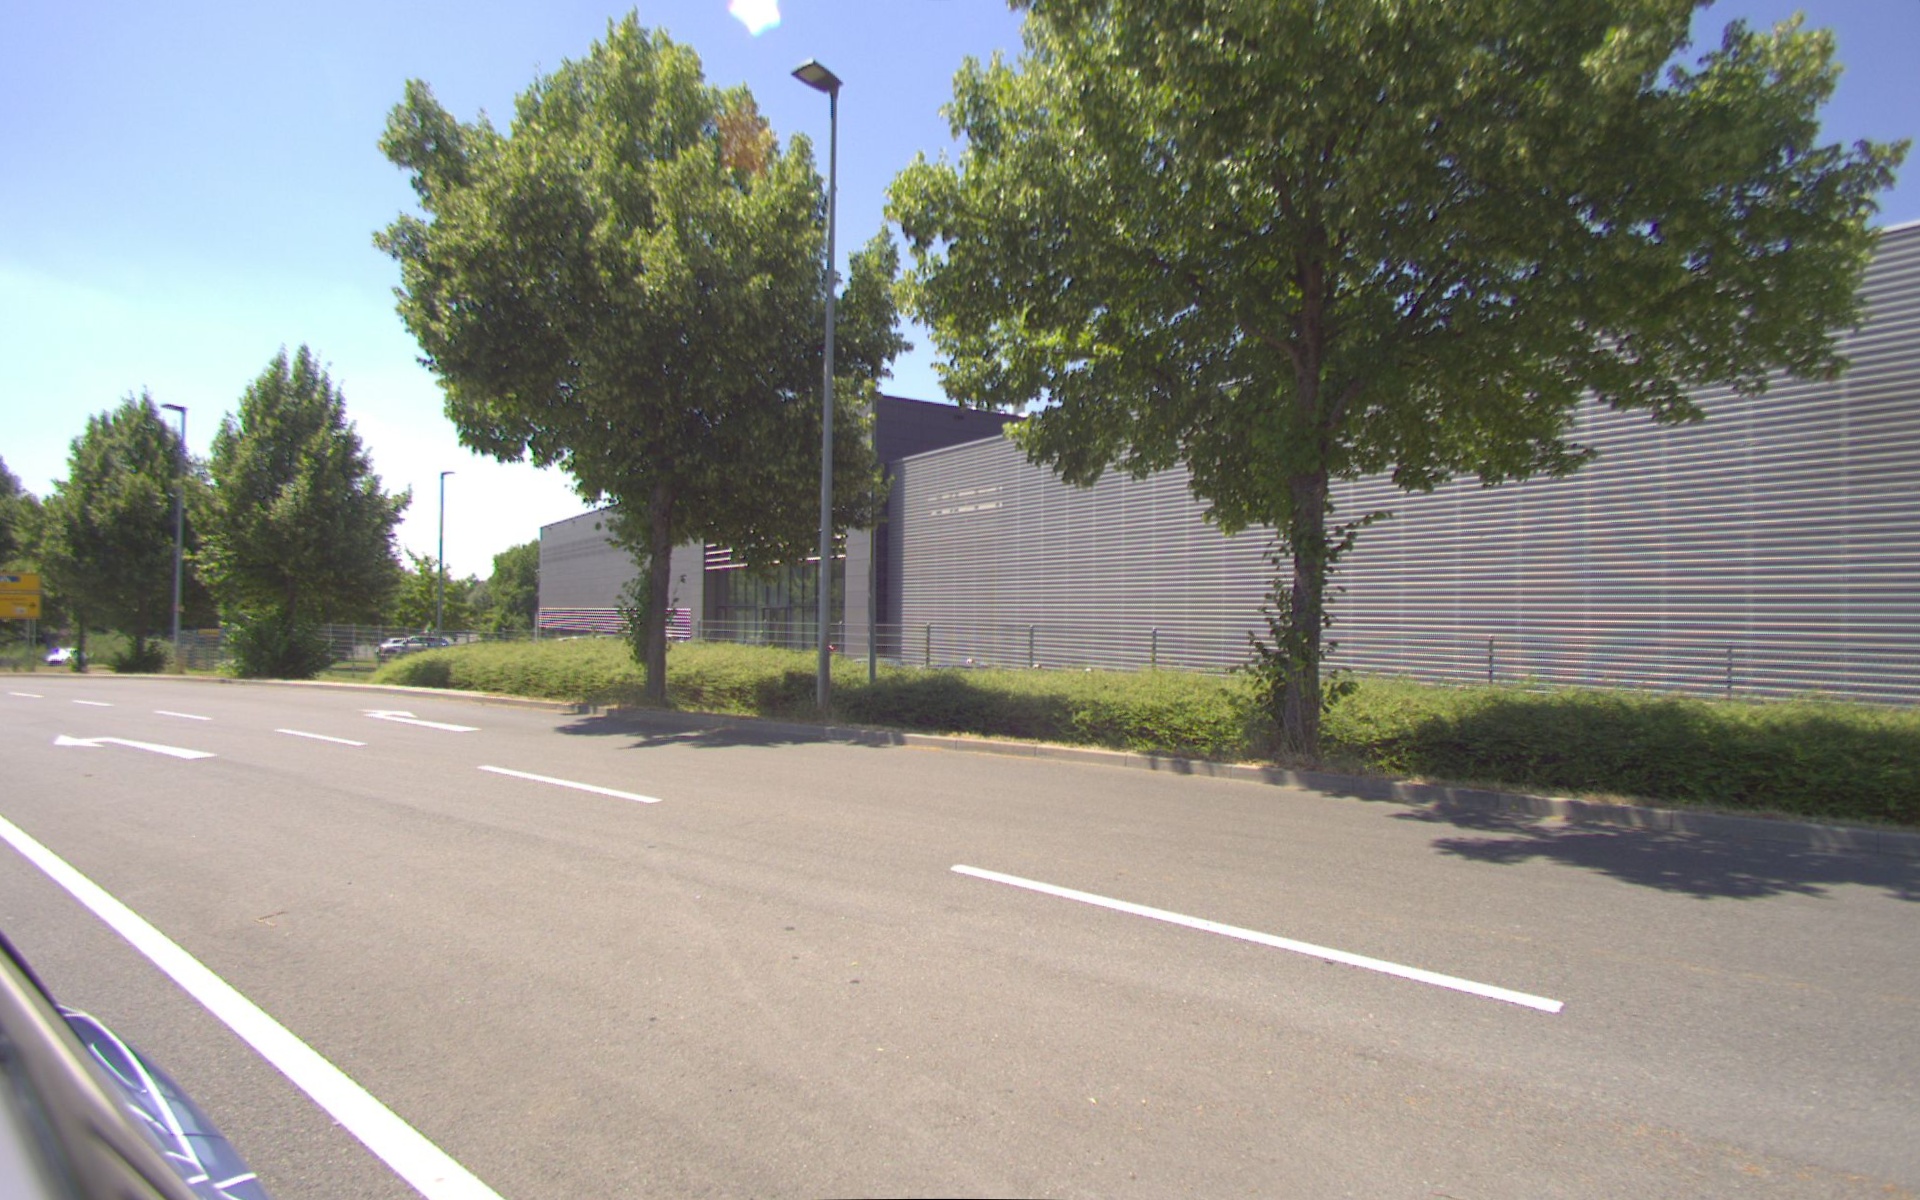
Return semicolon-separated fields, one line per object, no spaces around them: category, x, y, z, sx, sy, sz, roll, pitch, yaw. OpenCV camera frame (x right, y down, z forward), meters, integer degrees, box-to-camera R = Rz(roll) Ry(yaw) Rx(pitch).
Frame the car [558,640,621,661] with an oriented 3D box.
car;-27.272;3.715;74.479;3.936;1.497;2.004;2;-5;-39

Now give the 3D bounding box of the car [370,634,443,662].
car;-36.520;3.191;66.837;3.936;1.719;2.004;2;-5;-39

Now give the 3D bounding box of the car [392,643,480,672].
car;-28.482;3.118;55.058;3.936;1.497;2.004;2;-5;-39

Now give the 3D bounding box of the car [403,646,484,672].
car;-30.718;3.512;60.211;3.936;1.497;2.004;2;-5;-39

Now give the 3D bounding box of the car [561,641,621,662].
car;-27.972;3.923;76.759;3.936;1.471;1.775;2;-5;-39

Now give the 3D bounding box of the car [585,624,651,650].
car;-24.169;2.600;71.531;3.936;1.528;1.923;-3;-2;-39

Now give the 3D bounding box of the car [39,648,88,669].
car;-78.070;5.113;88.193;1.965;1.796;4.012;1;-4;-23
